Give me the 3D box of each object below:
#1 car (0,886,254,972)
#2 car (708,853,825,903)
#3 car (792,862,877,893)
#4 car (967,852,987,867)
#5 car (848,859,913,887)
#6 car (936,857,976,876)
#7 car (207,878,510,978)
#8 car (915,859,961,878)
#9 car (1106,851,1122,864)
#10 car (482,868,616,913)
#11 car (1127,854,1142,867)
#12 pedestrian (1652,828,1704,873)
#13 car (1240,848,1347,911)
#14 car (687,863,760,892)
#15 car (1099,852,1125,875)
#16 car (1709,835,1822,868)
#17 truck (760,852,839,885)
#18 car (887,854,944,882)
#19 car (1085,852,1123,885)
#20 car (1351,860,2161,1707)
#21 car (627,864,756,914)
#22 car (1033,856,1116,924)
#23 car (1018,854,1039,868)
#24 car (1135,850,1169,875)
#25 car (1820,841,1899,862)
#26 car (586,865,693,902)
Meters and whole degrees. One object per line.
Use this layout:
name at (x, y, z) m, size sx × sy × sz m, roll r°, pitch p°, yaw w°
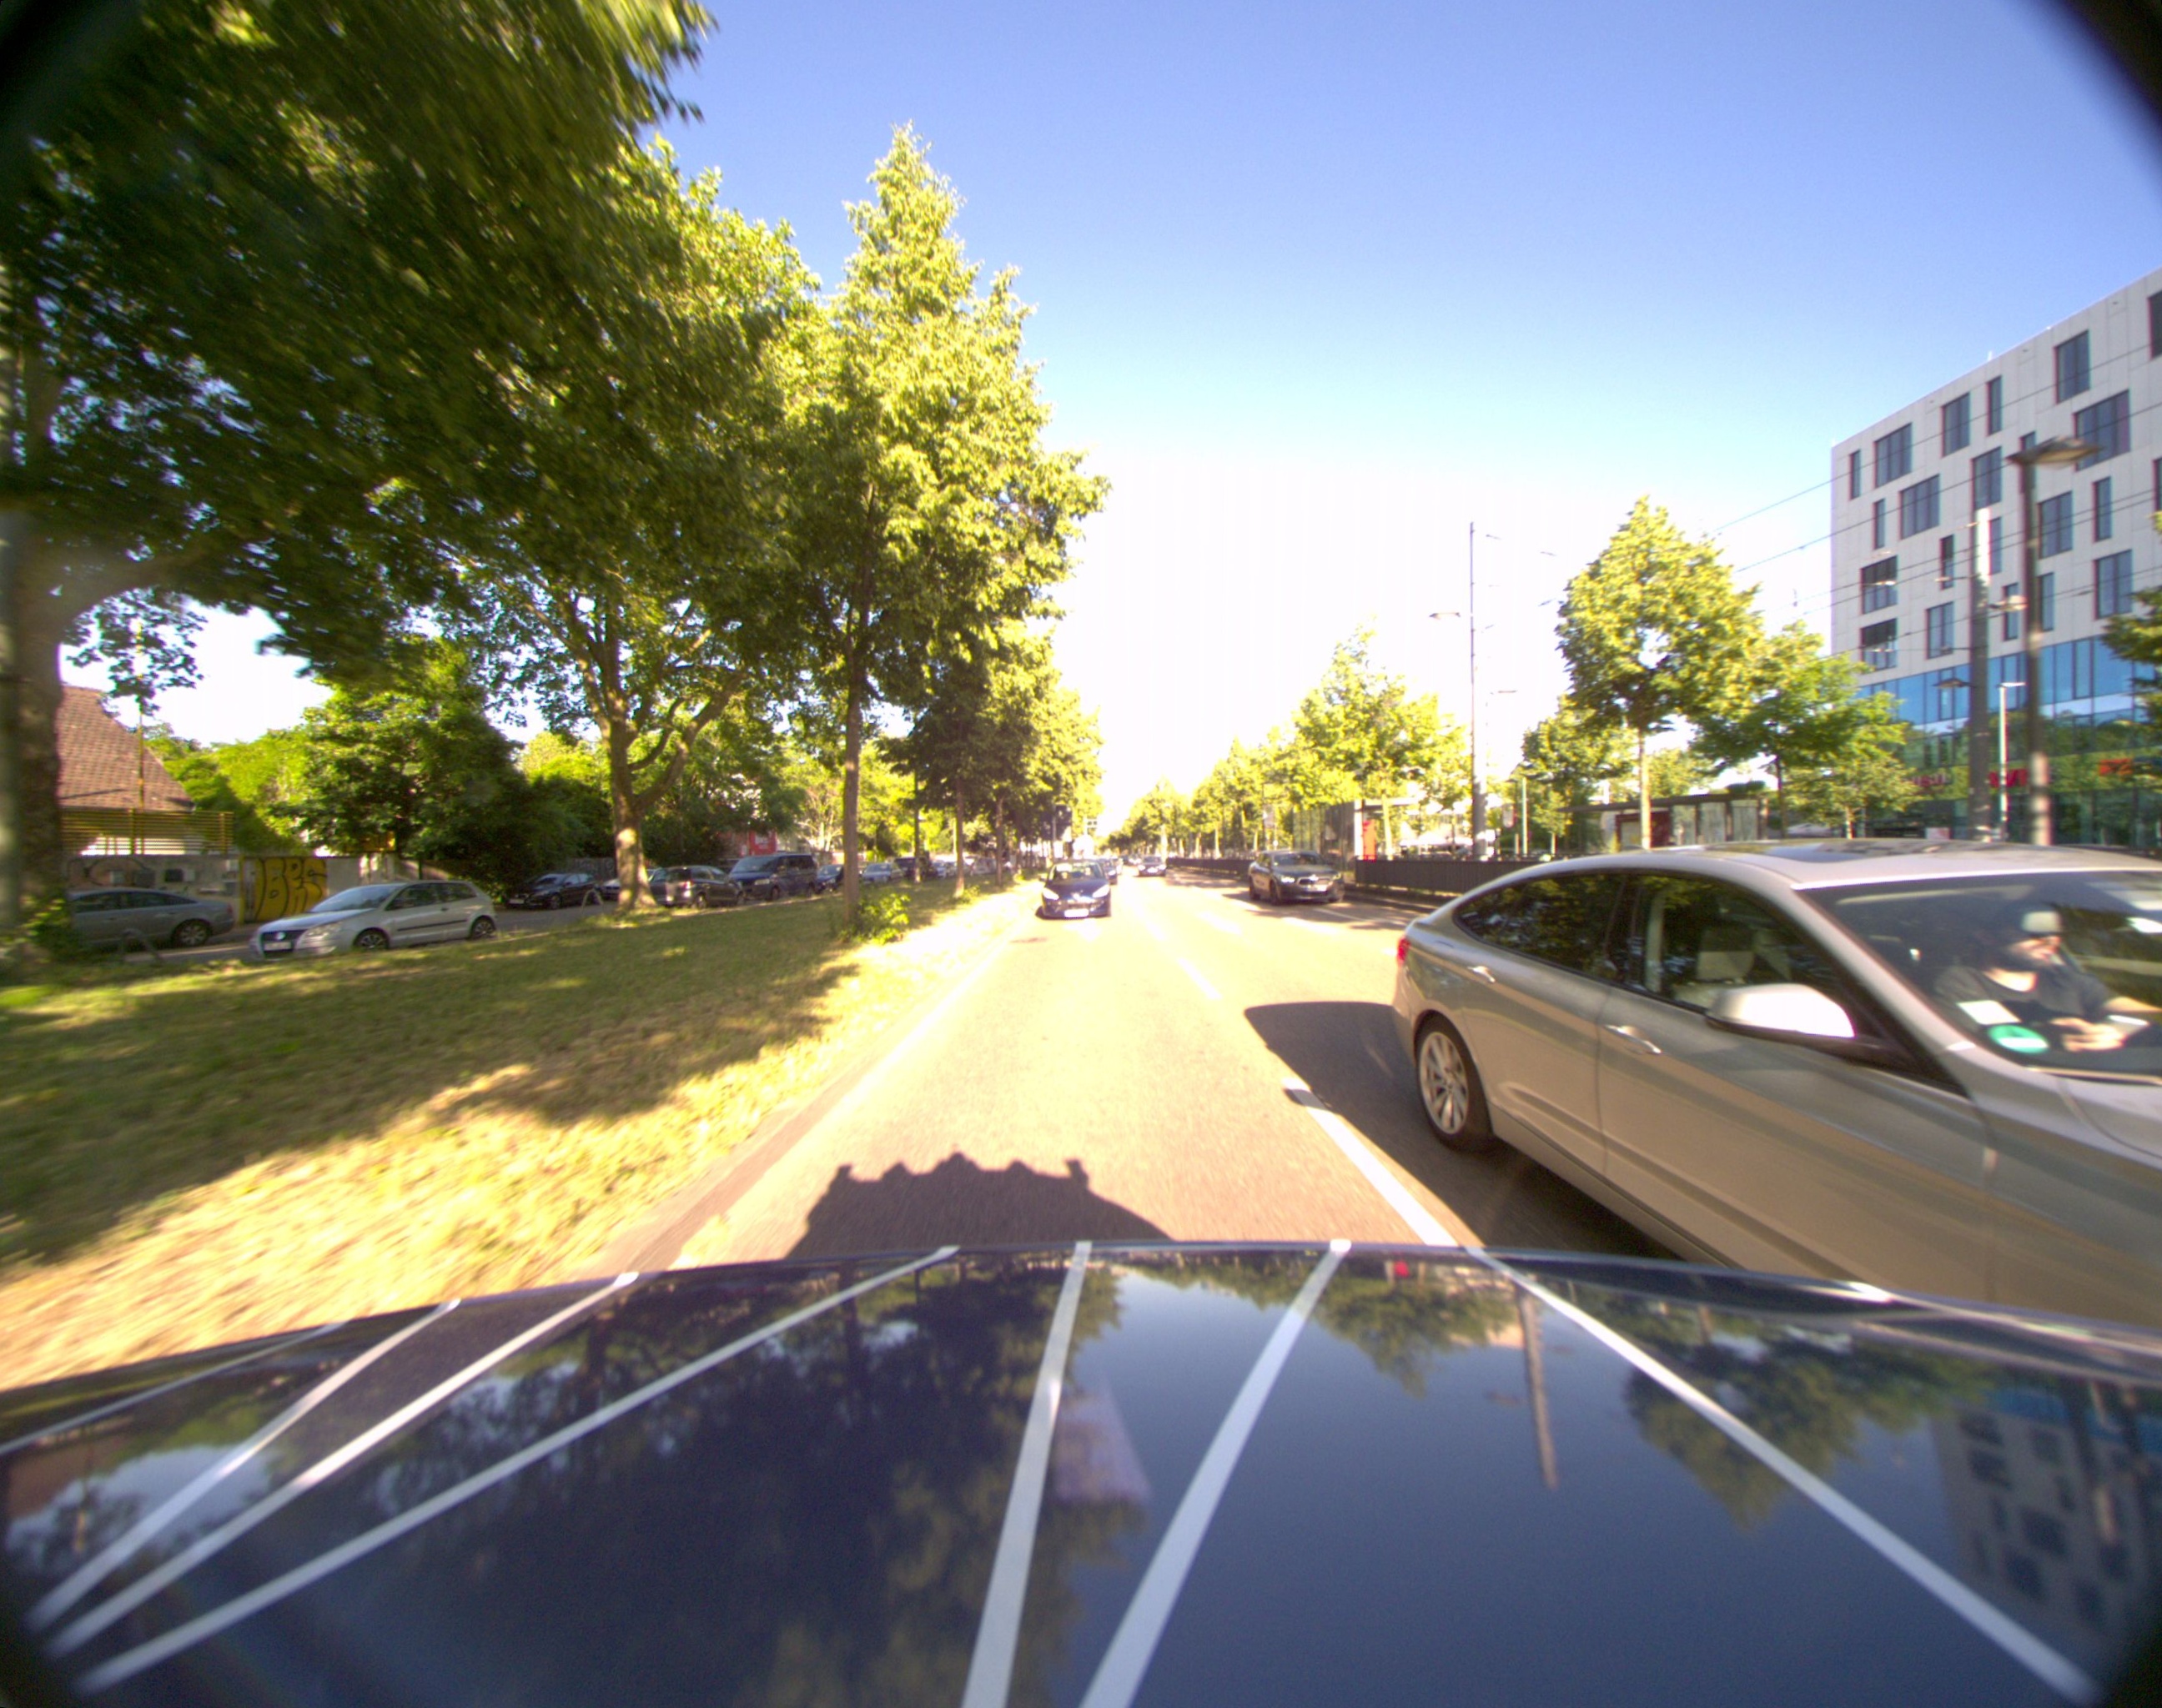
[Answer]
car at (-21.611, 1.560, 16.362) m, size 1.898 × 1.477 × 4.915 m, roll -2°, pitch 0°, yaw 6°
car at (-12.043, 0.846, 29.554) m, size 2.037 × 1.731 × 5.023 m, roll -2°, pitch 0°, yaw 5°
car at (-11.336, 1.039, 35.339) m, size 1.998 × 1.242 × 4.656 m, roll -2°, pitch 0°, yaw 6°
car at (-14.335, 0.690, 104.506) m, size 1.998 × 2.002 × 4.000 m, roll -2°, pitch 0°, yaw 2°
car at (-11.042, 1.015, 42.147) m, size 1.998 × 1.355 × 4.867 m, roll -2°, pitch 0°, yaw 4°
car at (-9.598, 0.961, 58.611) m, size 1.998 × 1.308 × 4.547 m, roll -2°, pitch 0°, yaw 3°
car at (-13.569, 1.306, 14.698) m, size 1.898 × 1.477 × 4.050 m, roll -2°, pitch 0°, yaw 1°
car at (-9.912, 0.979, 53.070) m, size 1.998 × 1.203 × 4.115 m, roll -2°, pitch 0°, yaw 6°
car at (4.133, 0.474, 94.795) m, size 1.998 × 1.543 × 4.001 m, roll -1°, pitch 0°, yaw 4°
car at (-20.929, 1.370, 30.190) m, size 1.998 × 1.520 × 4.654 m, roll 1°, pitch 0°, yaw 1°
car at (6.745, 0.807, 95.307) m, size 1.675 × 1.418 × 4.006 m, roll -3°, pitch 0°, yaw 2°
pedestrian at (20.175, -0.122, 25.690) m, size 1.068 × 1.458 × 0.844 m, roll -2°, pitch 0°, yaw 6°
car at (5.915, 0.649, 21.700) m, size 1.803 × 1.518 × 4.343 m, roll -3°, pitch 0°, yaw 0°
car at (-19.785, 1.278, 42.251) m, size 1.795 × 1.394 × 4.173 m, roll -2°, pitch 0°, yaw 5°
car at (2.372, 0.703, 57.516) m, size 1.803 × 1.518 × 4.605 m, roll -3°, pitch 1°, yaw 2°
car at (34.511, -0.125, 38.491) m, size 1.803 × 1.518 × 4.343 m, roll -3°, pitch 0°, yaw 0°
truck at (-18.983, 0.903, 51.605) m, size 2.454 × 2.063 × 6.582 m, roll -2°, pitch 0°, yaw 4°
car at (-10.295, 0.847, 47.609) m, size 1.997 × 1.587 × 4.657 m, roll -2°, pitch 0°, yaw 7°
car at (1.166, 0.716, 39.678) m, size 1.803 × 1.518 × 4.605 m, roll -3°, pitch 0°, yaw 1°
car at (2.648, 0.843, 2.290) m, size 1.803 × 1.518 × 4.910 m, roll -3°, pitch 0°, yaw -1°
car at (-12.391, 1.060, 24.462) m, size 1.942 × 1.372 × 3.914 m, roll -2°, pitch 0°, yaw 3°
car at (-0.049, 0.884, 20.564) m, size 1.802 × 1.518 × 4.606 m, roll -3°, pitch 0°, yaw 4°
car at (-5.964, 0.777, 86.908) m, size 1.998 × 1.576 × 4.000 m, roll -2°, pitch 0°, yaw 2°
car at (4.699, 0.556, 50.739) m, size 1.803 × 1.518 × 4.343 m, roll -3°, pitch 0°, yaw 0°
car at (57.312, -0.210, 56.000) m, size 3.998 × 1.347 × 1.876 m, roll -3°, pitch 0°, yaw -3°
car at (-20.588, 1.331, 35.711) m, size 1.998 × 1.520 × 4.656 m, roll -2°, pitch 0°, yaw 5°
